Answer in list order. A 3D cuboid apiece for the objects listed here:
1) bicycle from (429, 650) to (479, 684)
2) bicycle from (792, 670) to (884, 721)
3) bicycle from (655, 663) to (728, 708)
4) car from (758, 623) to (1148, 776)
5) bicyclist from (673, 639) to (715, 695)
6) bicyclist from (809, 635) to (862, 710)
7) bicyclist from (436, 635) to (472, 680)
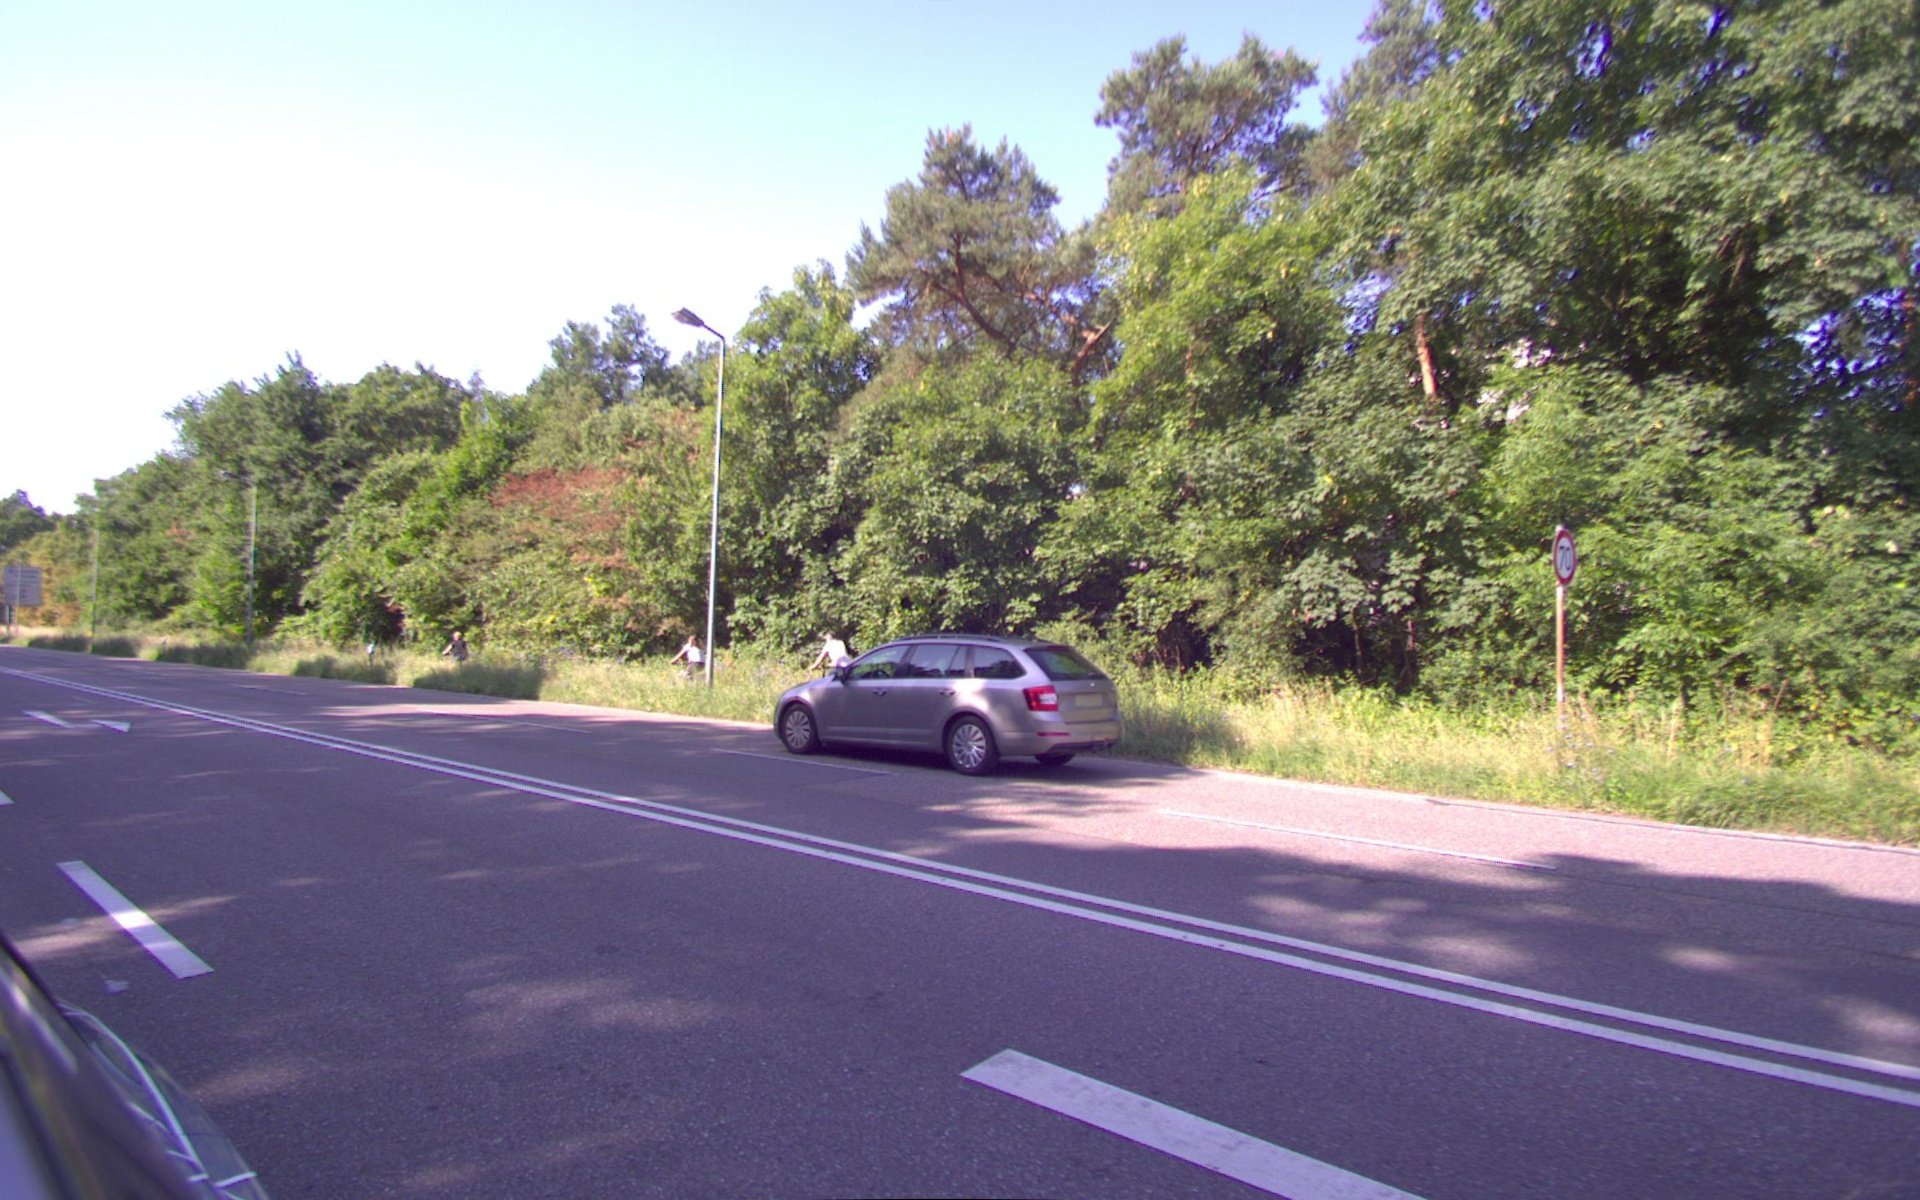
[{"bbox_3d":[-15.800,2.076,31.588,1.911,0.963,0.668,-1,-1,38],"label":"bicycle"},{"bbox_3d":[-2.515,1.930,20.664,2.138,0.921,0.597,-1,-3,42],"label":"bicycle"},{"bbox_3d":[-6.399,2.015,24.083,2.138,0.965,0.597,-1,-3,42],"label":"bicycle"},{"bbox_3d":[-0.222,1.036,11.668,4.456,1.444,1.686,-2,-4,39],"label":"car"},{"bbox_3d":[-6.283,1.571,23.900,0.727,1.273,0.693,-1,-1,42],"label":"bicyclist"},{"bbox_3d":[-2.559,1.465,20.735,0.944,1.477,0.604,-1,-1,42],"label":"bicyclist"},{"bbox_3d":[-15.783,1.783,31.576,0.973,1.352,0.668,-1,-1,38],"label":"bicyclist"}]
